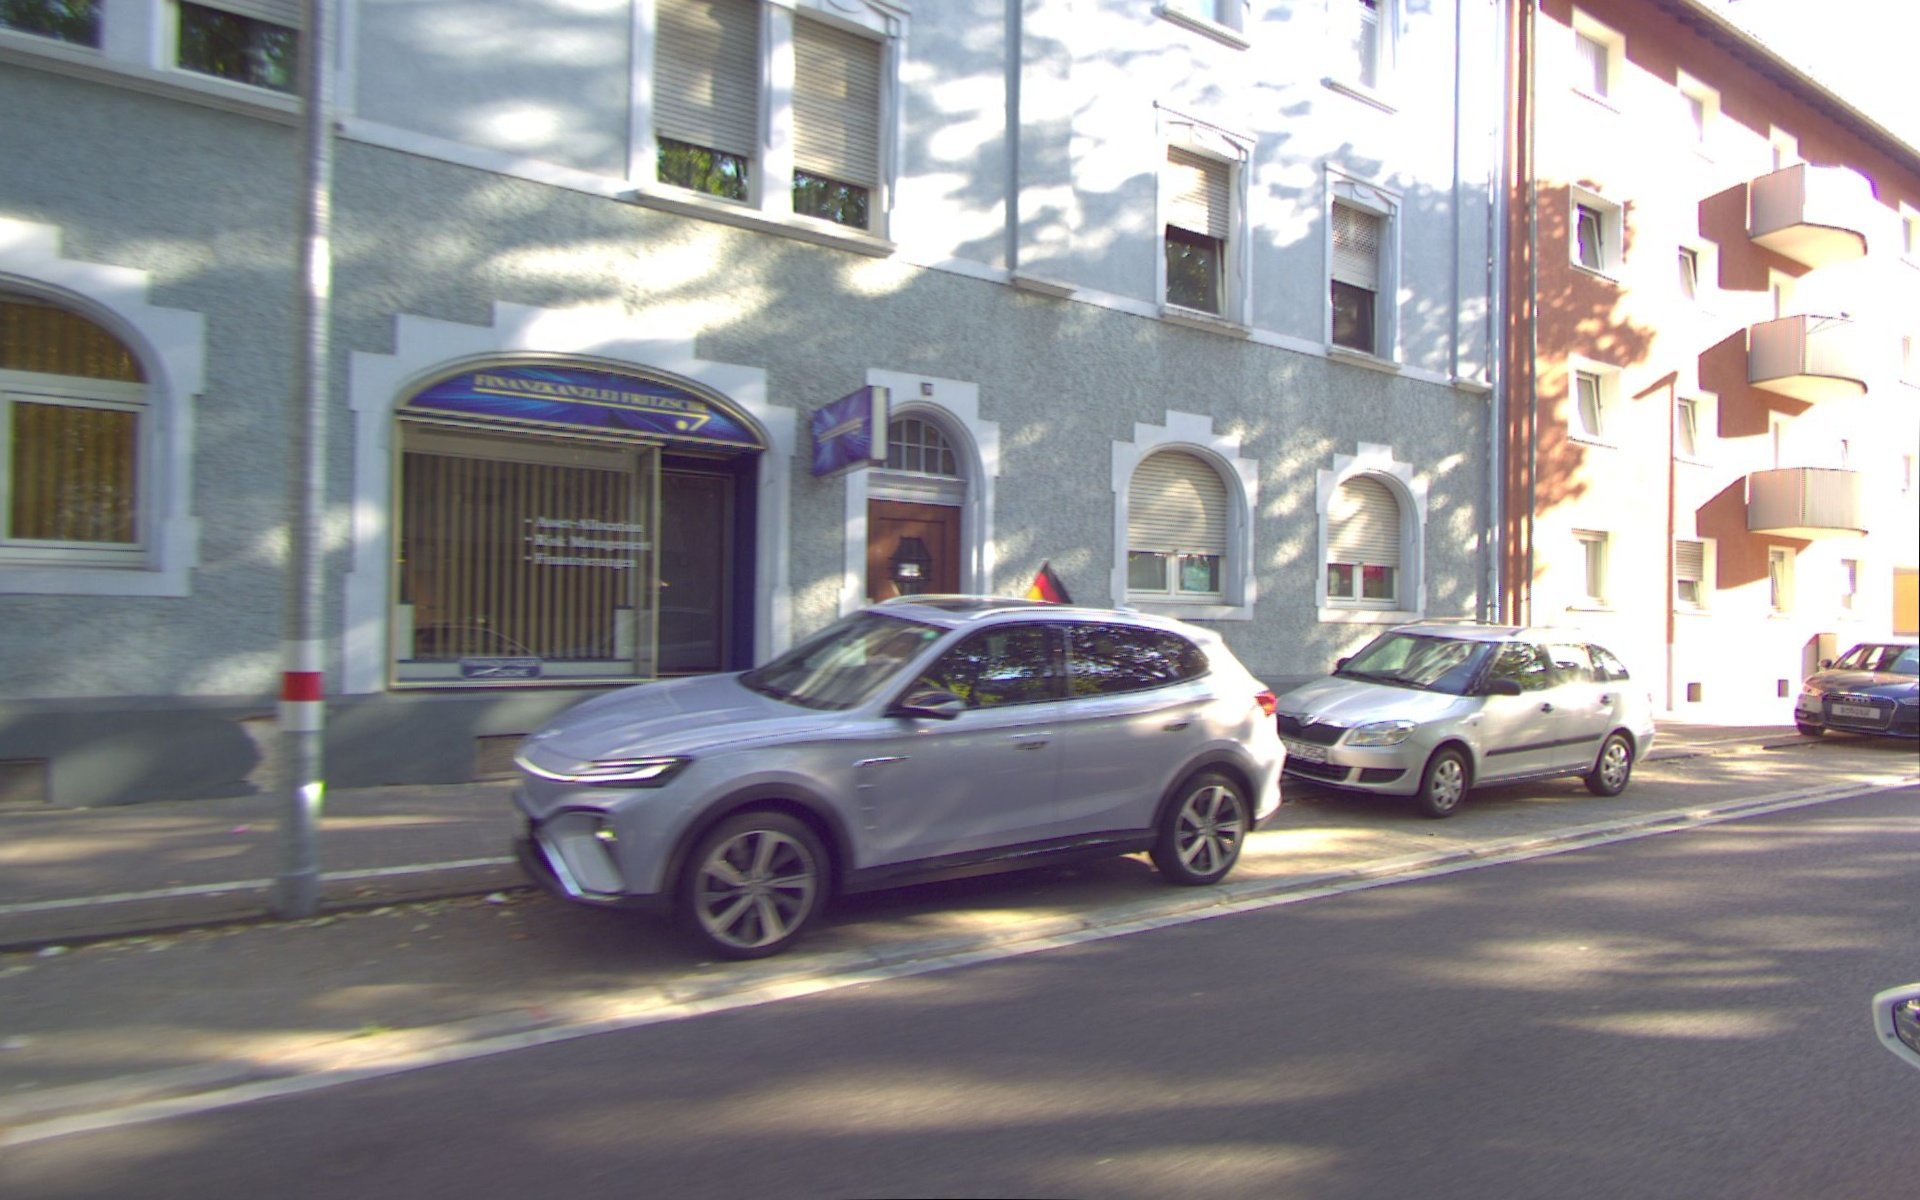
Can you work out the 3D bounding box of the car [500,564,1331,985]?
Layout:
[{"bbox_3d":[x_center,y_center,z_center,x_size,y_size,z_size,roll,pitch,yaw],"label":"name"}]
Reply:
[{"bbox_3d":[-0.145,0.730,5.927,4.522,1.663,1.899,2,0,-30],"label":"car"}]

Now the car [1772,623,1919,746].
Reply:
[{"bbox_3d":[13.424,1.137,14.334,3.558,1.506,1.670,2,0,-30],"label":"car"}]

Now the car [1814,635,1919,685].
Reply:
[{"bbox_3d":[31.243,1.980,33.589,1.728,1.587,3.766,2,-2,-30],"label":"car"}]

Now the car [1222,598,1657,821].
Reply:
[{"bbox_3d":[4.490,0.870,9.296,3.937,1.663,1.670,2,0,-30],"label":"car"}]
